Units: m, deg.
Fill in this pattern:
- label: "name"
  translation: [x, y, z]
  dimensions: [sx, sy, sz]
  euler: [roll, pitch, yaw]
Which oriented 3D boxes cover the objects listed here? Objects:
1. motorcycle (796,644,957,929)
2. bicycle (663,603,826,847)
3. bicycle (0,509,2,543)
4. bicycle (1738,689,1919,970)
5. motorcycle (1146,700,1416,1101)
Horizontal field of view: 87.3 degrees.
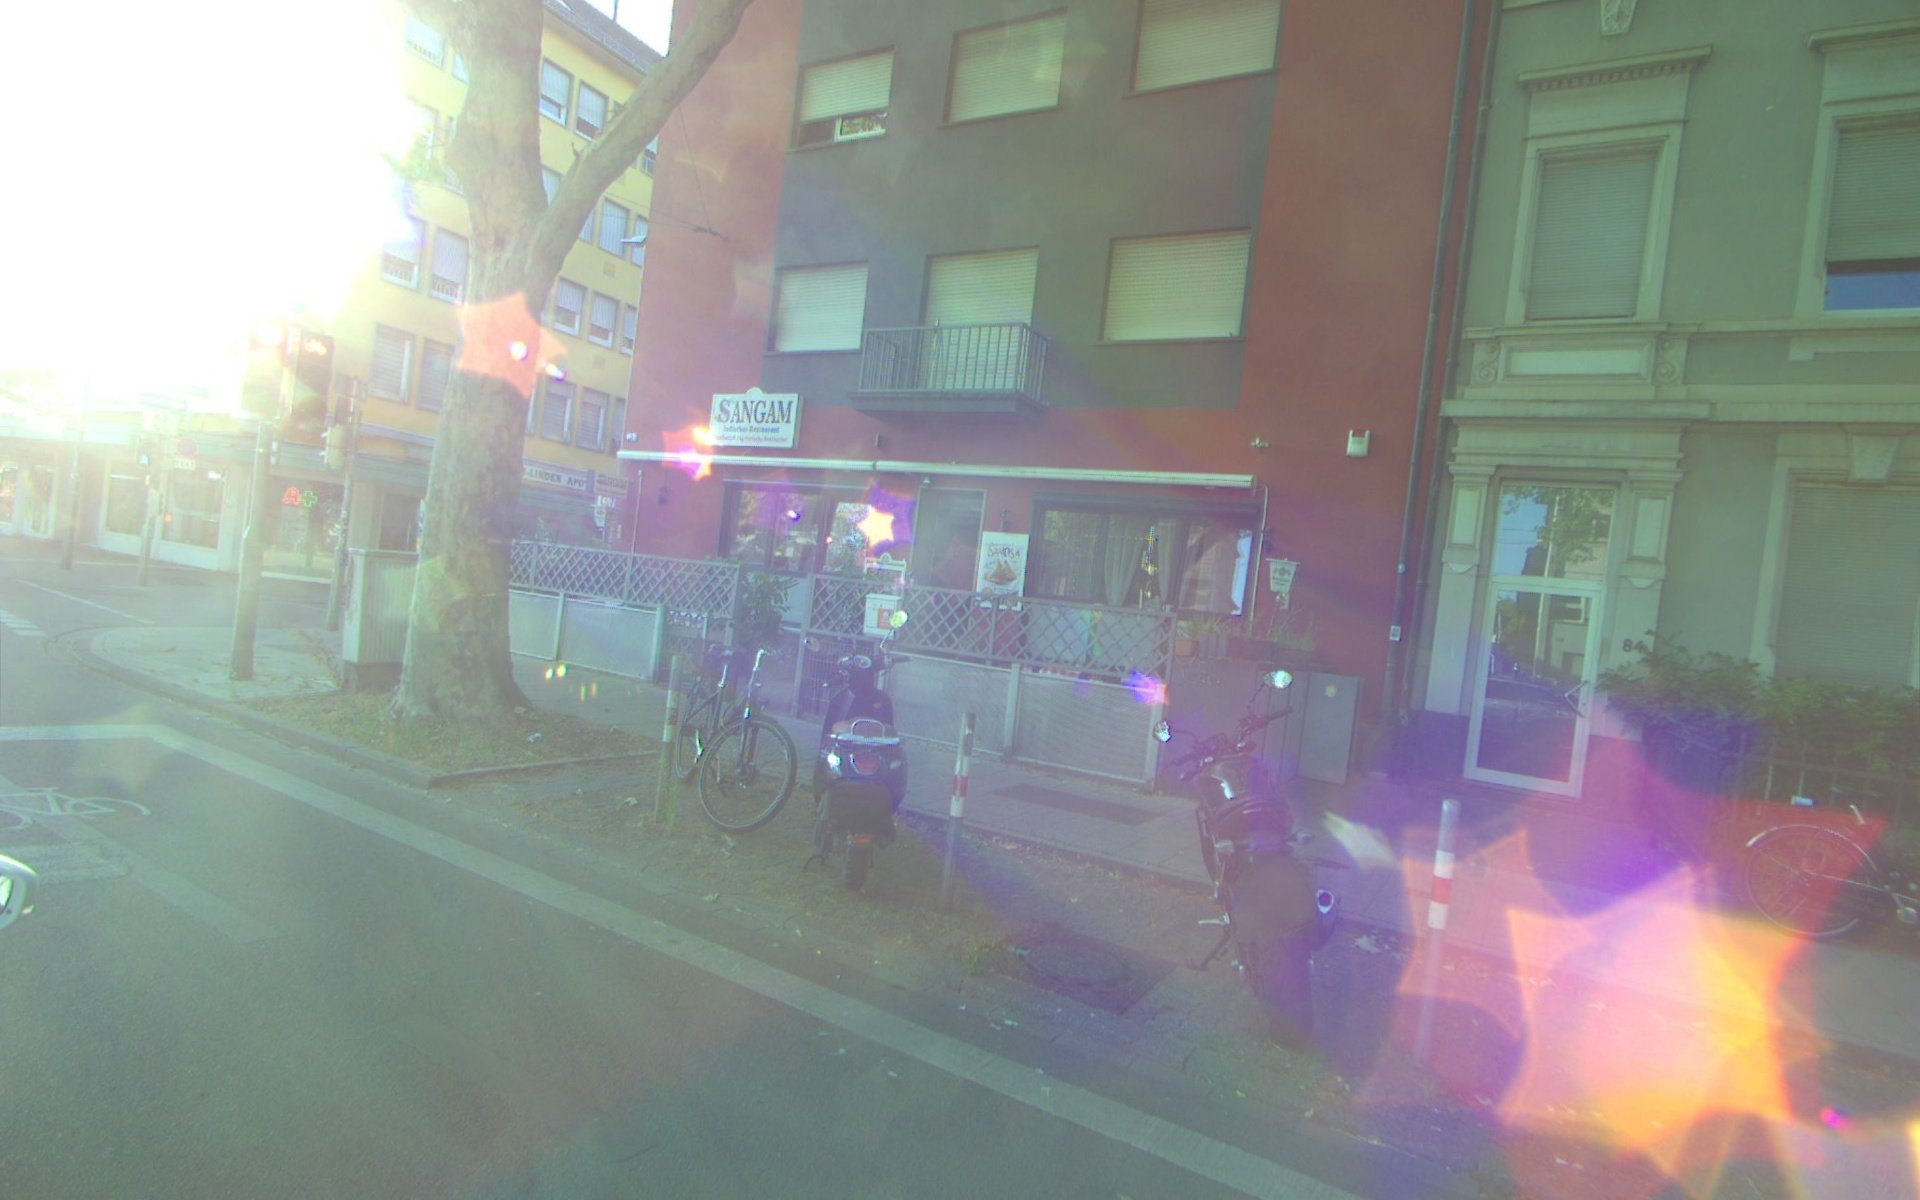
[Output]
- label: "motorcycle"
  translation: [-0.543, 0.919, 5.656]
  dimensions: [0.591, 1.166, 1.994]
  euler: [6, 0, -10]
- label: "bicycle"
  translation: [-1.493, 0.745, 6.682]
  dimensions: [0.686, 1.219, 1.837]
  euler: [8, 2, -20]
- label: "bicycle"
  translation: [-23.432, -1.710, 23.214]
  dimensions: [0.683, 1.034, 1.774]
  euler: [7, 1, 31]
- label: "bicycle"
  translation: [5.864, 1.377, 5.507]
  dimensions: [2.356, 1.443, 0.608]
  euler: [6, -1, 32]
- label: "motorcycle"
  translation: [1.316, 1.156, 4.621]
  dimensions: [0.752, 1.077, 2.212]
  euler: [7, 2, 9]
